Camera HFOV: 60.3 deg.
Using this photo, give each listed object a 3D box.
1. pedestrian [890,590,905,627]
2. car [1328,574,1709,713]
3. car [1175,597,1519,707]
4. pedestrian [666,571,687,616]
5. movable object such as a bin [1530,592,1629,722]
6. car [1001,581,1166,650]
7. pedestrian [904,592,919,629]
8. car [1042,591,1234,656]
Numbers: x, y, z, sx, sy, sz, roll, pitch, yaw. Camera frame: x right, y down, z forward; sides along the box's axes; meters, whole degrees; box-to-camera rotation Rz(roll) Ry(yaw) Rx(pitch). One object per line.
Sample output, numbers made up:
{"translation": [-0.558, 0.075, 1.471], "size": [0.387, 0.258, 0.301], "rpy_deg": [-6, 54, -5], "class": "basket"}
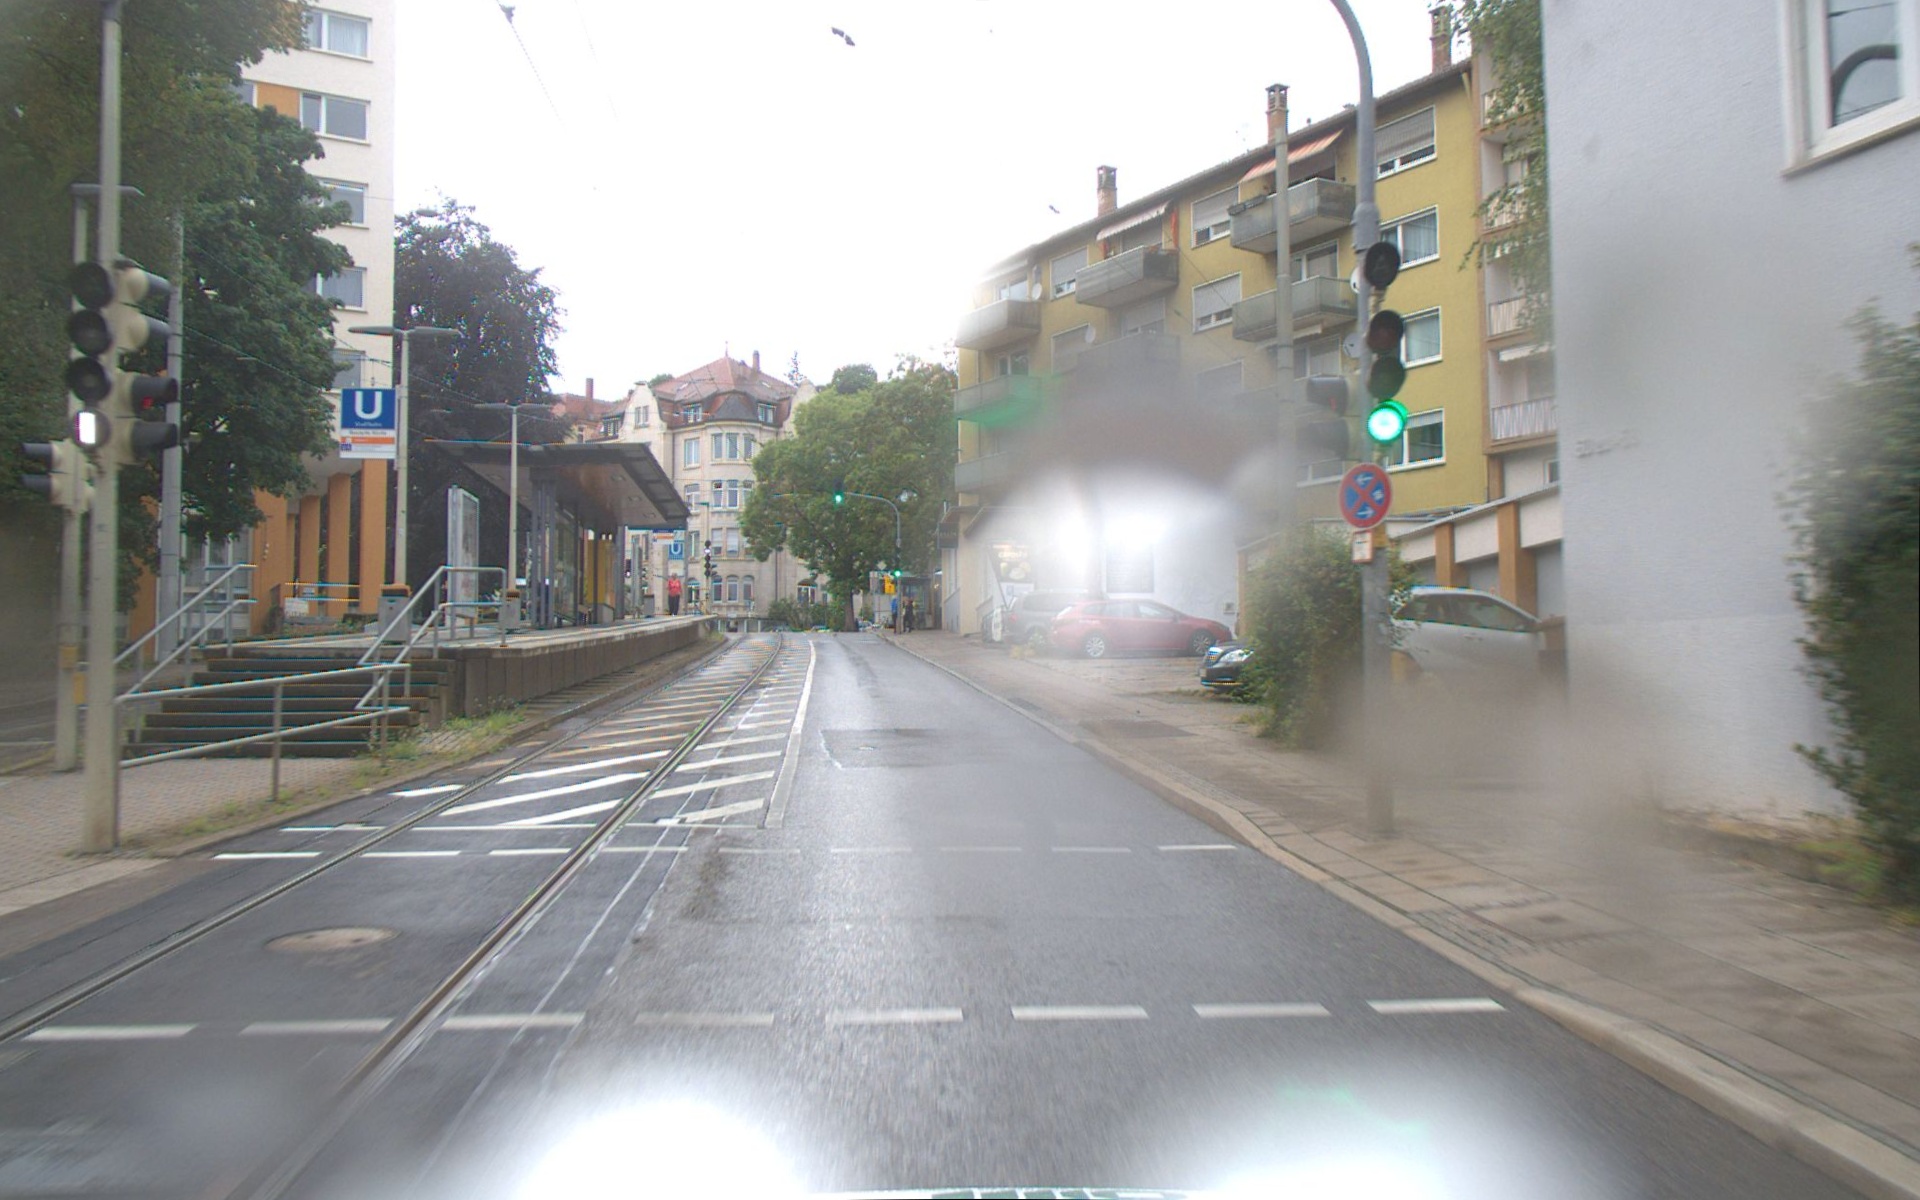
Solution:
{"translation": [-2.684, 0.371, 70.879], "size": [0.577, 1.581, 0.649], "rpy_deg": [-2, 0, -6], "class": "pedestrian"}
{"translation": [6.609, 0.513, 19.751], "size": [3.914, 1.492, 1.812], "rpy_deg": [2, 0, -10], "class": "car"}
{"translation": [5.955, 0.782, 25.793], "size": [4.835, 1.461, 1.973], "rpy_deg": [2, 2, -5], "class": "car"}
{"translation": [-9.969, -0.227, 58.195], "size": [0.658, 1.575, 0.770], "rpy_deg": [0, 0, -6], "class": "pedestrian"}
{"translation": [5.680, 0.508, 15.189], "size": [0.526, 1.160, 0.697], "rpy_deg": [0, 0, -21], "class": "movable object such as a bin"}
{"translation": [3.299, 0.414, 44.703], "size": [4.242, 1.703, 1.779], "rpy_deg": [-1, -1, -3], "class": "car"}
{"translation": [-2.098, 0.460, 71.717], "size": [0.535, 1.581, 0.558], "rpy_deg": [-2, 0, -8], "class": "pedestrian"}
{"translation": [4.399, 0.574, 41.170], "size": [4.481, 1.463, 1.763], "rpy_deg": [-1, -1, -6], "class": "car"}
